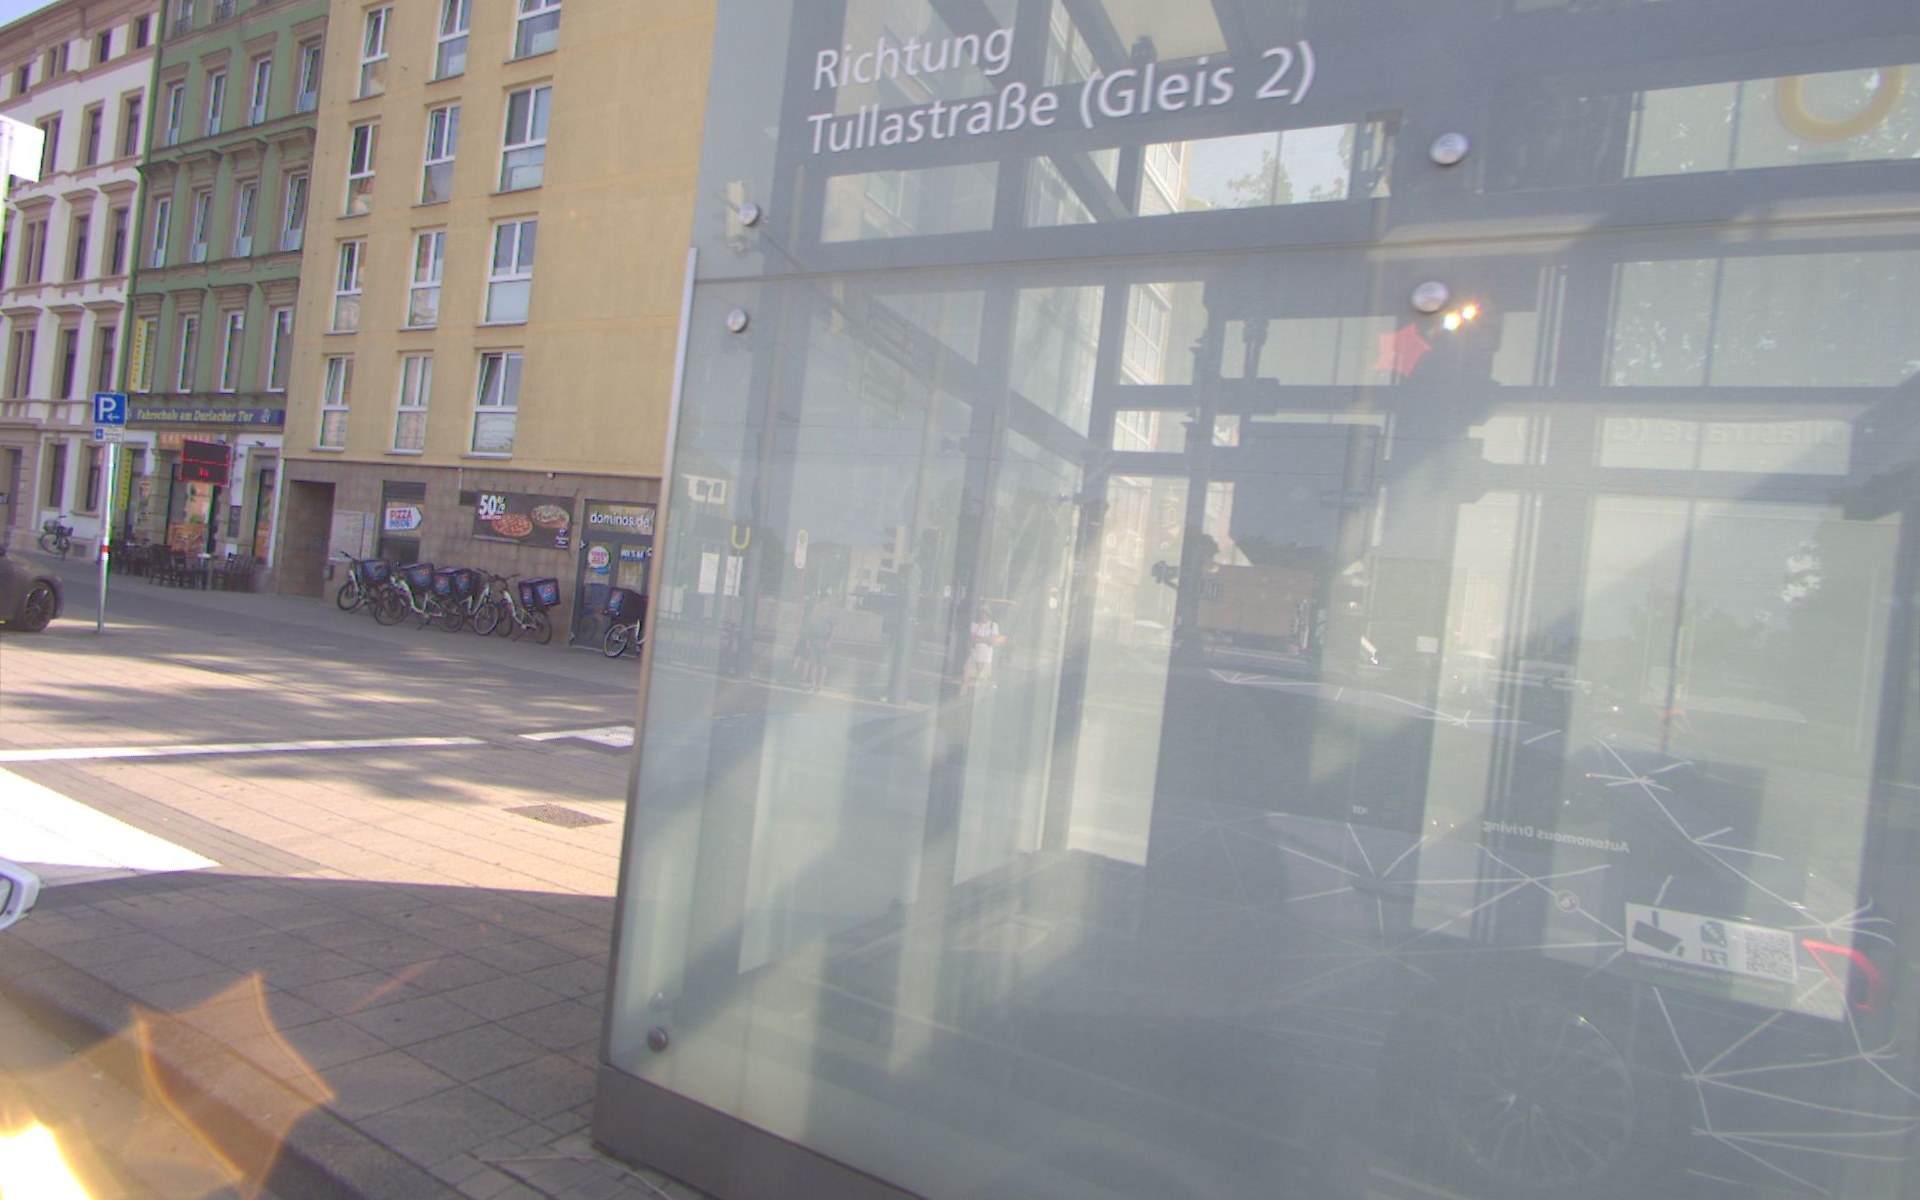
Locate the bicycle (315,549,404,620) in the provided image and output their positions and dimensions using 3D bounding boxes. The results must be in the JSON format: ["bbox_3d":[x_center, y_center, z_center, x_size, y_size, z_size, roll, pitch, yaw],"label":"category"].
[{"bbox_3d":[-12.625,-0.328,21.129,1.963,1.276,0.603,7,0,29],"label":"bicycle"}]

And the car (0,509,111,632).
[{"bbox_3d":[-12.124,-0.454,11.317,1.816,1.440,4.404,7,-1,-9],"label":"car"}]

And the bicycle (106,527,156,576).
[{"bbox_3d":[-22.394,-1.311,27.166,1.690,1.148,0.384,6,0,30],"label":"bicycle"}]

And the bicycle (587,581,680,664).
[{"bbox_3d":[-5.792,0.397,17.827,1.608,1.276,0.469,7,0,29],"label":"bicycle"}]

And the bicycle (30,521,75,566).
[{"bbox_3d":[-26.274,-1.628,29.117,1.690,1.148,0.384,6,0,30],"label":"bicycle"}]

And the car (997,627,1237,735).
[{"bbox_3d":[2.990,1.513,19.404,4.124,1.459,1.659,6,0,30],"label":"car"}]

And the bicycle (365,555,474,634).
[{"bbox_3d":[-10.357,-0.106,19.262,1.960,1.276,0.604,7,0,21],"label":"bicycle"}]

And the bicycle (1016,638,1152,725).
[{"bbox_3d":[2.205,1.441,18.046,2.260,1.250,0.524,7,0,25],"label":"bicycle"}]

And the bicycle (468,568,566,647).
[{"bbox_3d":[-8.395,0.132,19.047,1.817,1.276,0.603,7,0,29],"label":"bicycle"}]

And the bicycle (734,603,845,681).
[{"bbox_3d":[-2.923,0.752,17.480,0.659,1.221,2.020,7,0,29],"label":"bicycle"}]

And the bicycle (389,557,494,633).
[{"bbox_3d":[-10.317,-0.105,20.006,1.960,1.276,0.604,7,0,21],"label":"bicycle"}]
